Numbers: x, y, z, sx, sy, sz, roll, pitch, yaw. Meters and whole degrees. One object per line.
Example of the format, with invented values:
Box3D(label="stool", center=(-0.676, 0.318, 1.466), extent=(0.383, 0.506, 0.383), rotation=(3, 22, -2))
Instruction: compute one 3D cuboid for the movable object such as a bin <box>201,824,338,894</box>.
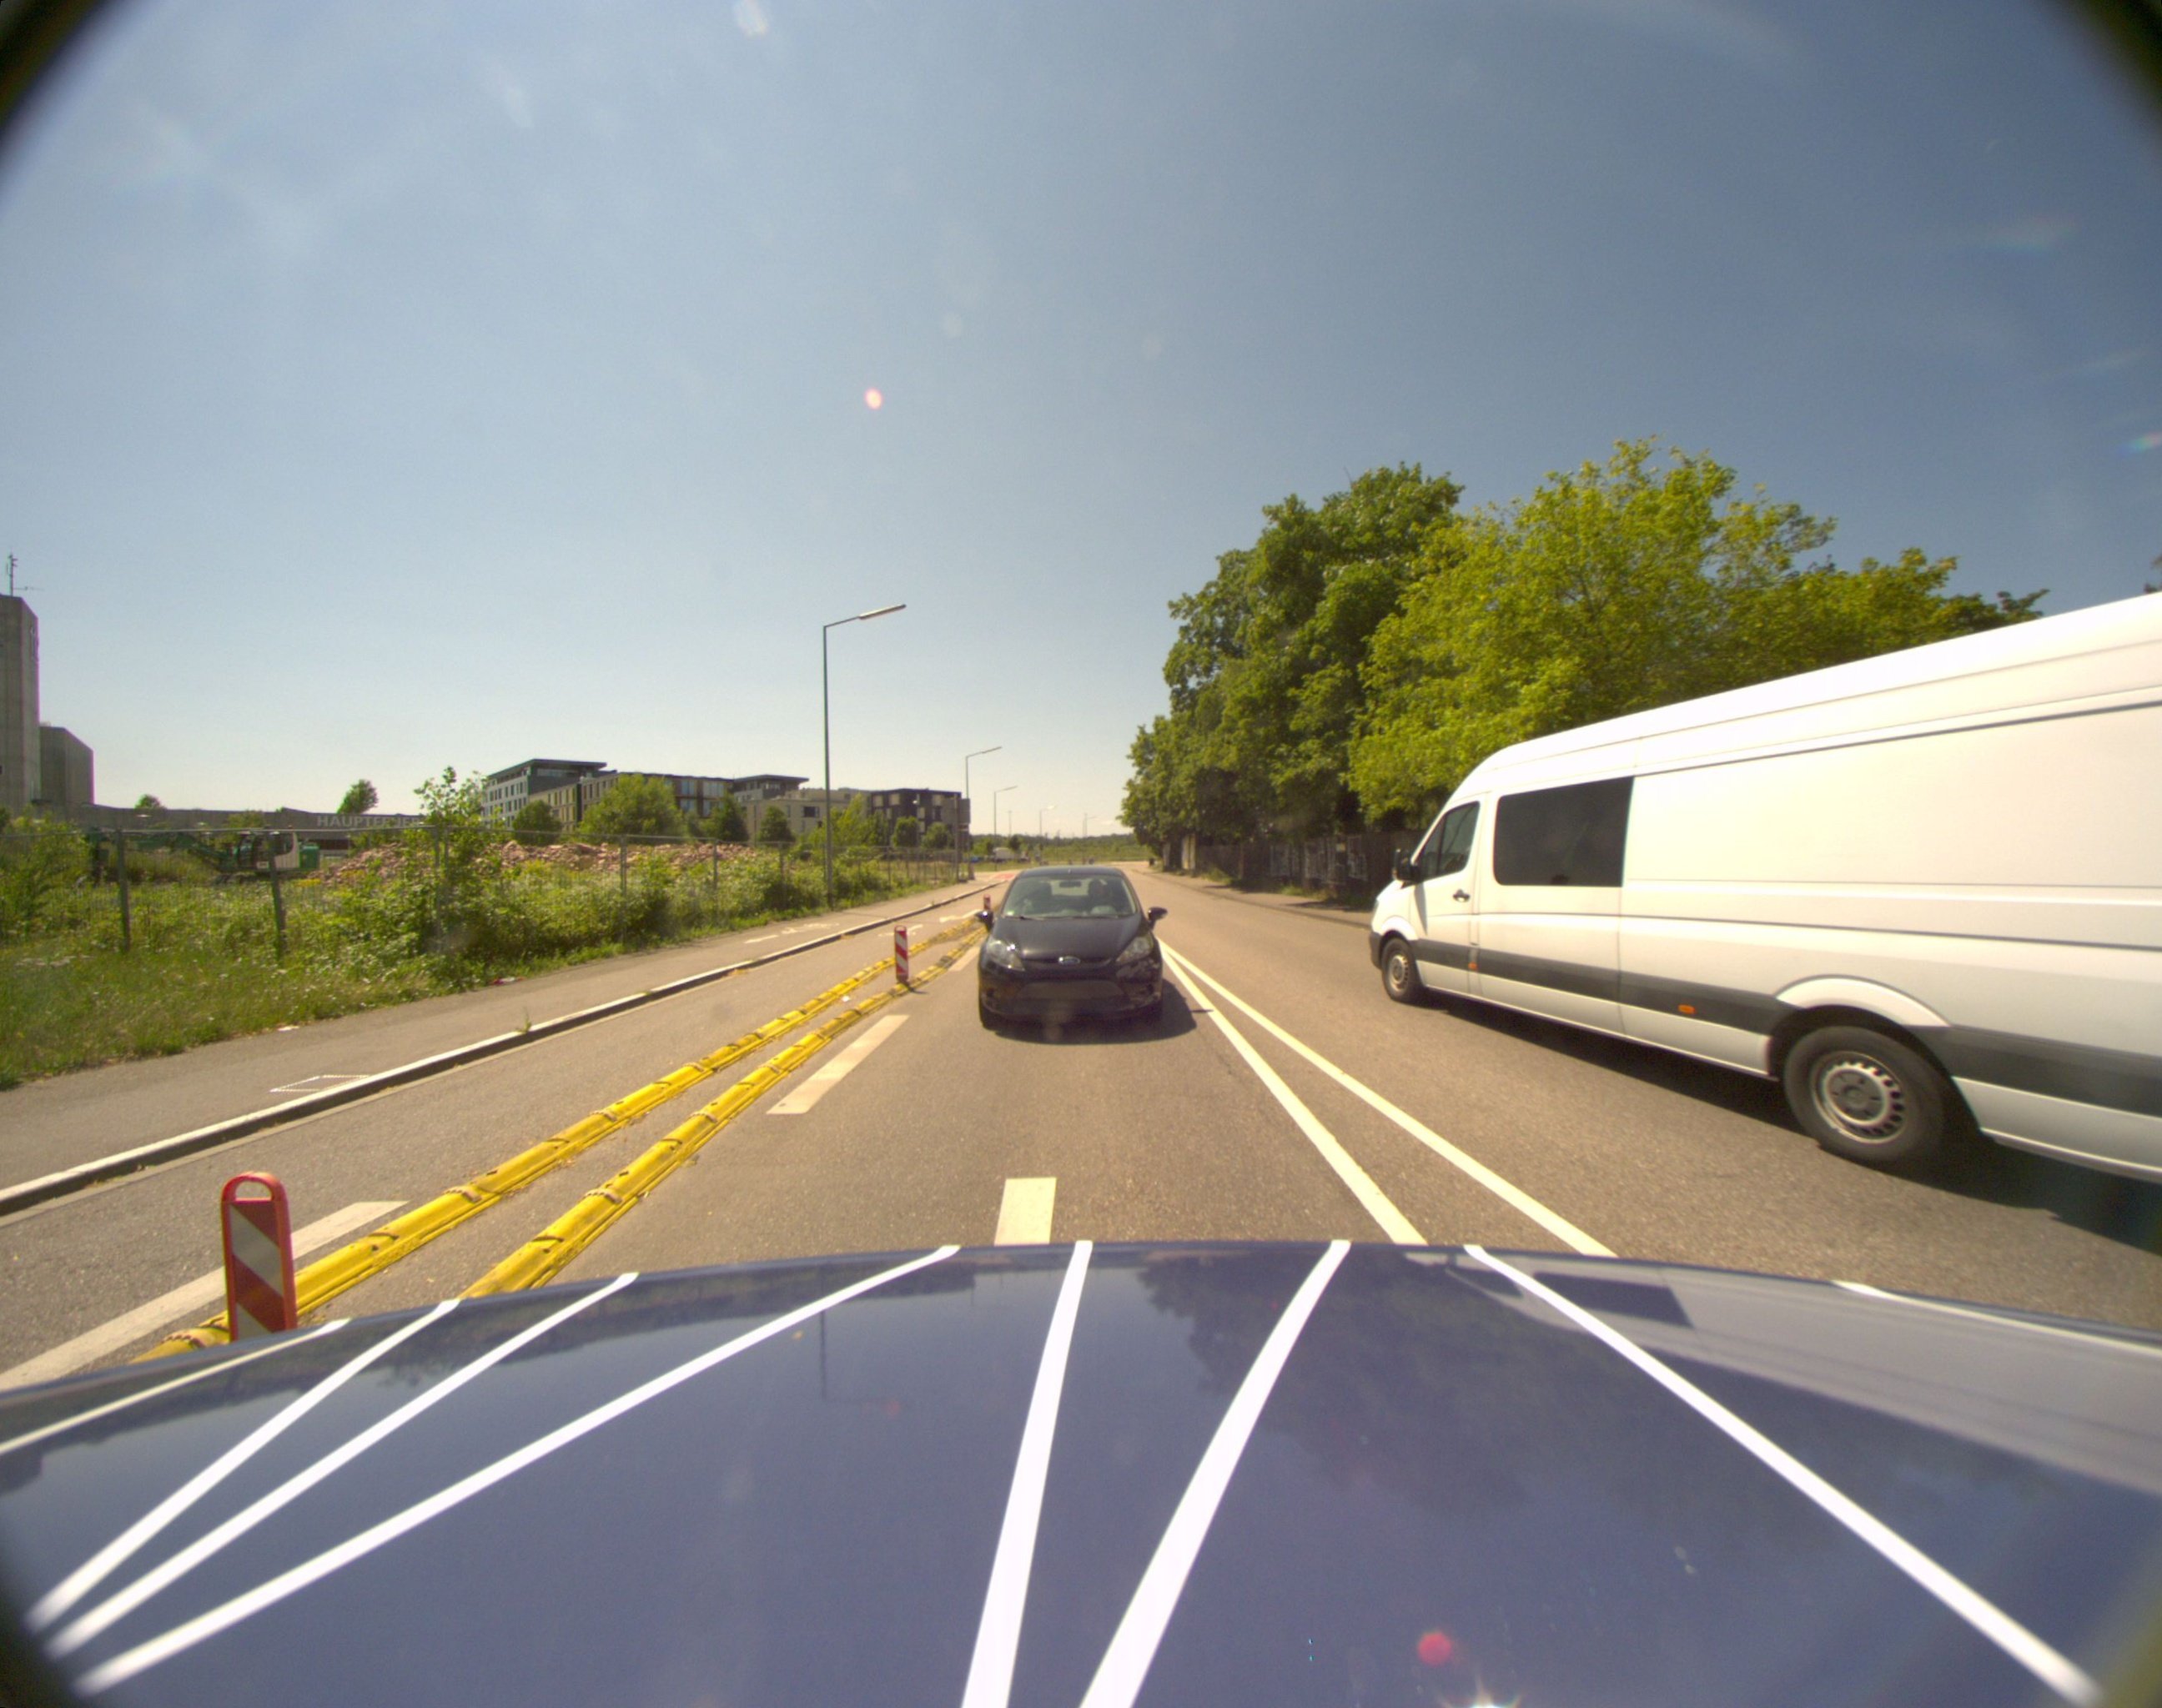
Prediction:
Box3D(label="movable object such as a bin", center=(-37.662, 0.193, 35.415), extent=(2.204, 3.045, 3.690), rotation=(-1, 1, 6))

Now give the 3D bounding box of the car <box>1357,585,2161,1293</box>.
Box3D(label="car", center=(4.548, 0.290, 5.294), extent=(2.026, 2.524, 6.822), rotation=(0, 0, -7))

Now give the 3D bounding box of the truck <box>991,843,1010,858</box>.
Box3D(label="truck", center=(-17.944, -0.813, 169.338), extent=(4.008, 3.316, 1.994), rotation=(-1, 1, -45))

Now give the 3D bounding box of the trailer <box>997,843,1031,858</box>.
Box3D(label="trailer", center=(-15.188, -0.817, 172.078), extent=(8.194, 3.329, 1.994), rotation=(-1, 0, -45))

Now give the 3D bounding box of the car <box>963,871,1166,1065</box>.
Box3D(label="car", center=(-0.112, 0.968, 8.123), extent=(1.602, 1.422, 4.000), rotation=(-2, 0, 1))
